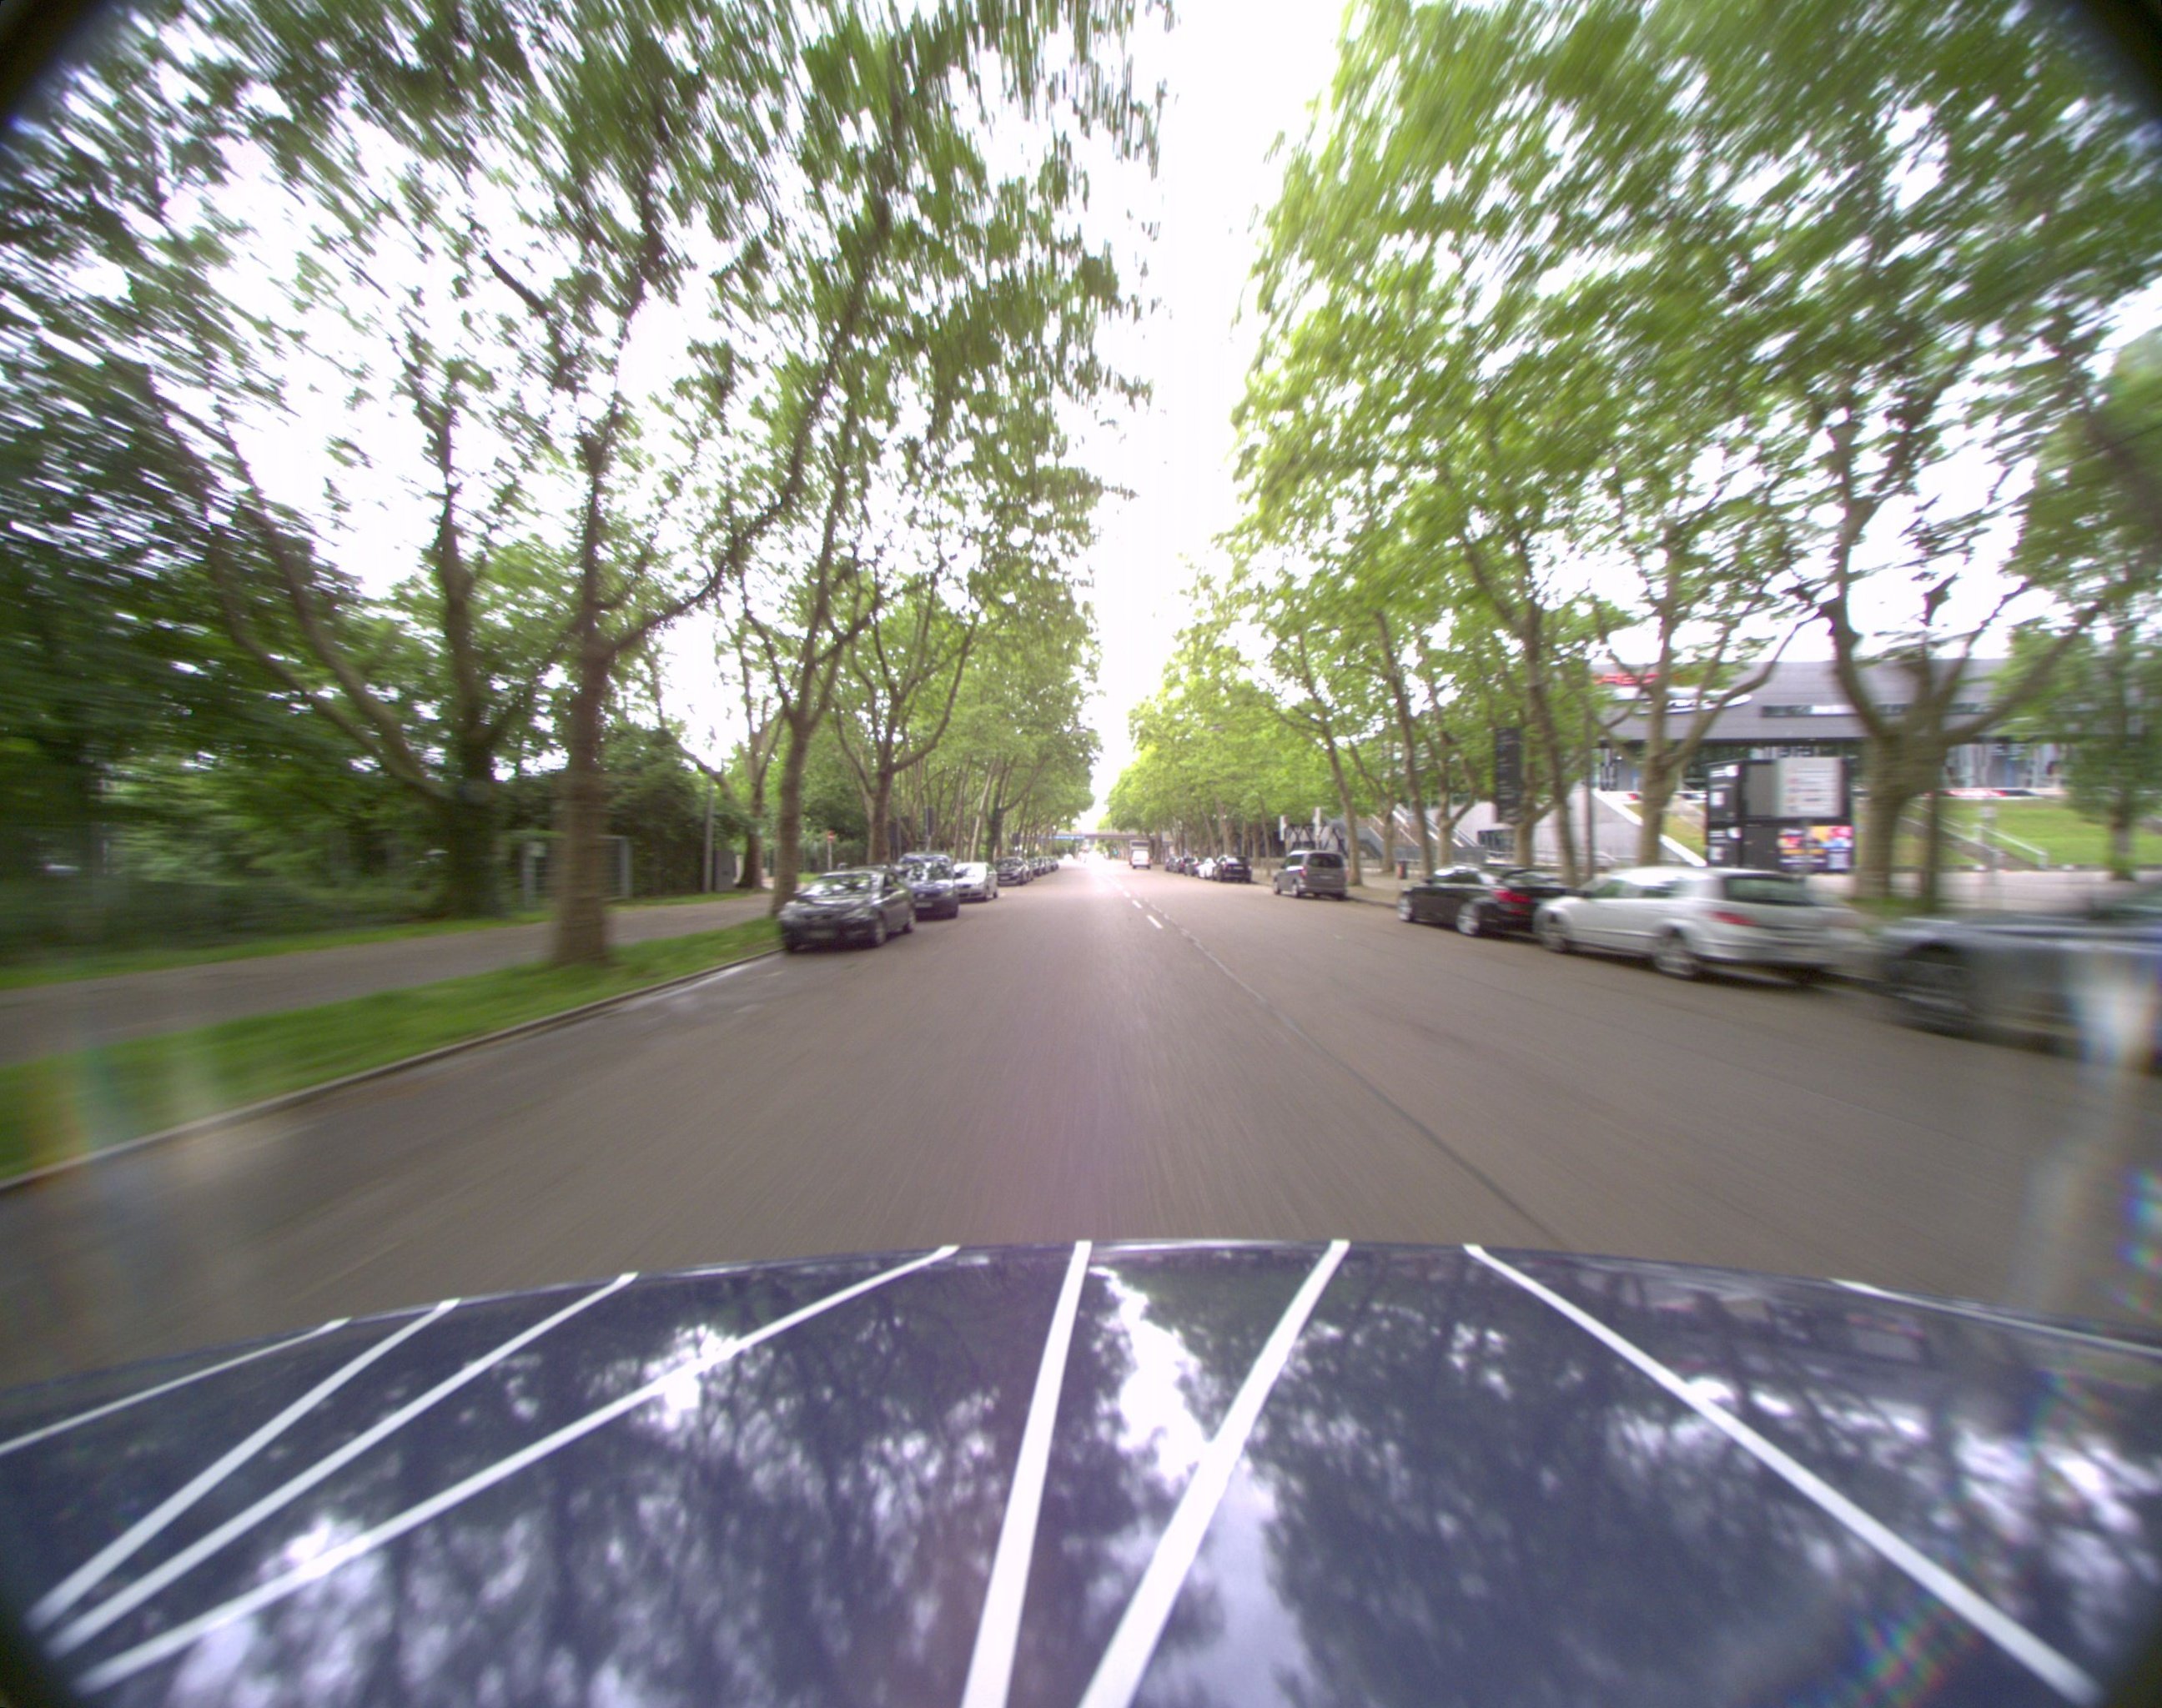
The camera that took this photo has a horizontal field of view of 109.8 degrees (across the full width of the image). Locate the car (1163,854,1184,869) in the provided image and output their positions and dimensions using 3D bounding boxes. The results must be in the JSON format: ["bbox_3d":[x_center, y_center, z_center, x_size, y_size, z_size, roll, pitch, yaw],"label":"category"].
[{"bbox_3d":[9.266,0.775,76.317,1.698,1.354,4.001,4,0,3],"label":"car"}]

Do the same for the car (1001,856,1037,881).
[{"bbox_3d":[-3.910,0.901,48.486,1.780,1.410,4.287,-3,0,1],"label":"car"}]

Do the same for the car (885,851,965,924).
[{"bbox_3d":[-4.296,0.857,21.504,1.848,1.772,4.444,-3,0,-8],"label":"car"}]

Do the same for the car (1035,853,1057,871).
[{"bbox_3d":[-3.346,0.767,74.029,1.783,1.608,4.224,-3,0,1],"label":"car"}]

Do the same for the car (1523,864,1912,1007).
[{"bbox_3d":[8.319,0.935,10.584,1.838,1.447,4.230,3,0,1],"label":"car"}]

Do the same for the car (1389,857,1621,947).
[{"bbox_3d":[8.433,0.840,15.822,2.089,1.521,5.146,1,0,2],"label":"car"}]

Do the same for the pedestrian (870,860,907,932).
[{"bbox_3d":[-4.447,0.964,17.589,0.635,1.617,0.742,-1,1,0],"label":"pedestrian"}]

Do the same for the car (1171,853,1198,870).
[{"bbox_3d":[9.081,0.660,66.823,1.712,1.374,4.331,3,0,0],"label":"car"}]

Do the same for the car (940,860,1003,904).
[{"bbox_3d":[-4.039,0.995,28.619,1.623,1.453,3.946,-3,0,2],"label":"car"}]

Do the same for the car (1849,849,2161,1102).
[{"bbox_3d":[8.301,0.866,4.860,1.874,1.708,4.646,2,0,-3],"label":"car"}]

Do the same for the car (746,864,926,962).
[{"bbox_3d":[-4.526,1.013,14.839,1.998,1.469,4.371,-2,0,0],"label":"car"}]

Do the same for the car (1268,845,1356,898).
[{"bbox_3d":[8.755,0.598,29.213,1.900,1.785,4.612,2,1,0],"label":"car"}]

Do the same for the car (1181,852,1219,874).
[{"bbox_3d":[8.727,0.635,56.014,1.824,1.476,4.992,1,0,-2],"label":"car"}]

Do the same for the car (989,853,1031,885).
[{"bbox_3d":[-3.906,0.803,42.383,1.834,1.593,4.467,-3,0,0],"label":"car"}]

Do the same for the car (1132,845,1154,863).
[{"bbox_3d":[6.859,-0.005,84.912,2.064,1.950,5.466,0,0,1],"label":"car"}]

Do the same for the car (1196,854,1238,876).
[{"bbox_3d":[8.801,0.690,49.527,1.820,1.354,5.005,1,0,0],"label":"car"}]

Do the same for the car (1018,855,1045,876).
[{"bbox_3d":[-3.899,0.862,60.644,1.781,1.544,4.396,-3,0,0],"label":"car"}]

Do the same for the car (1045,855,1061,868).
[{"bbox_3d":[-3.460,0.896,95.101,1.734,1.460,4.079,-3,0,0],"label":"car"}]

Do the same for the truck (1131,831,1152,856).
[{"bbox_3d":[9.511,-1.647,120.046,2.916,3.846,9.467,1,1,3],"label":"truck"}]

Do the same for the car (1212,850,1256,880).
[{"bbox_3d":[8.816,0.604,44.161,1.822,1.584,4.345,2,1,3],"label":"car"}]

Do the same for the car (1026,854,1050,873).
[{"bbox_3d":[-3.776,0.819,67.389,1.743,1.462,4.151,-3,0,2],"label":"car"}]
